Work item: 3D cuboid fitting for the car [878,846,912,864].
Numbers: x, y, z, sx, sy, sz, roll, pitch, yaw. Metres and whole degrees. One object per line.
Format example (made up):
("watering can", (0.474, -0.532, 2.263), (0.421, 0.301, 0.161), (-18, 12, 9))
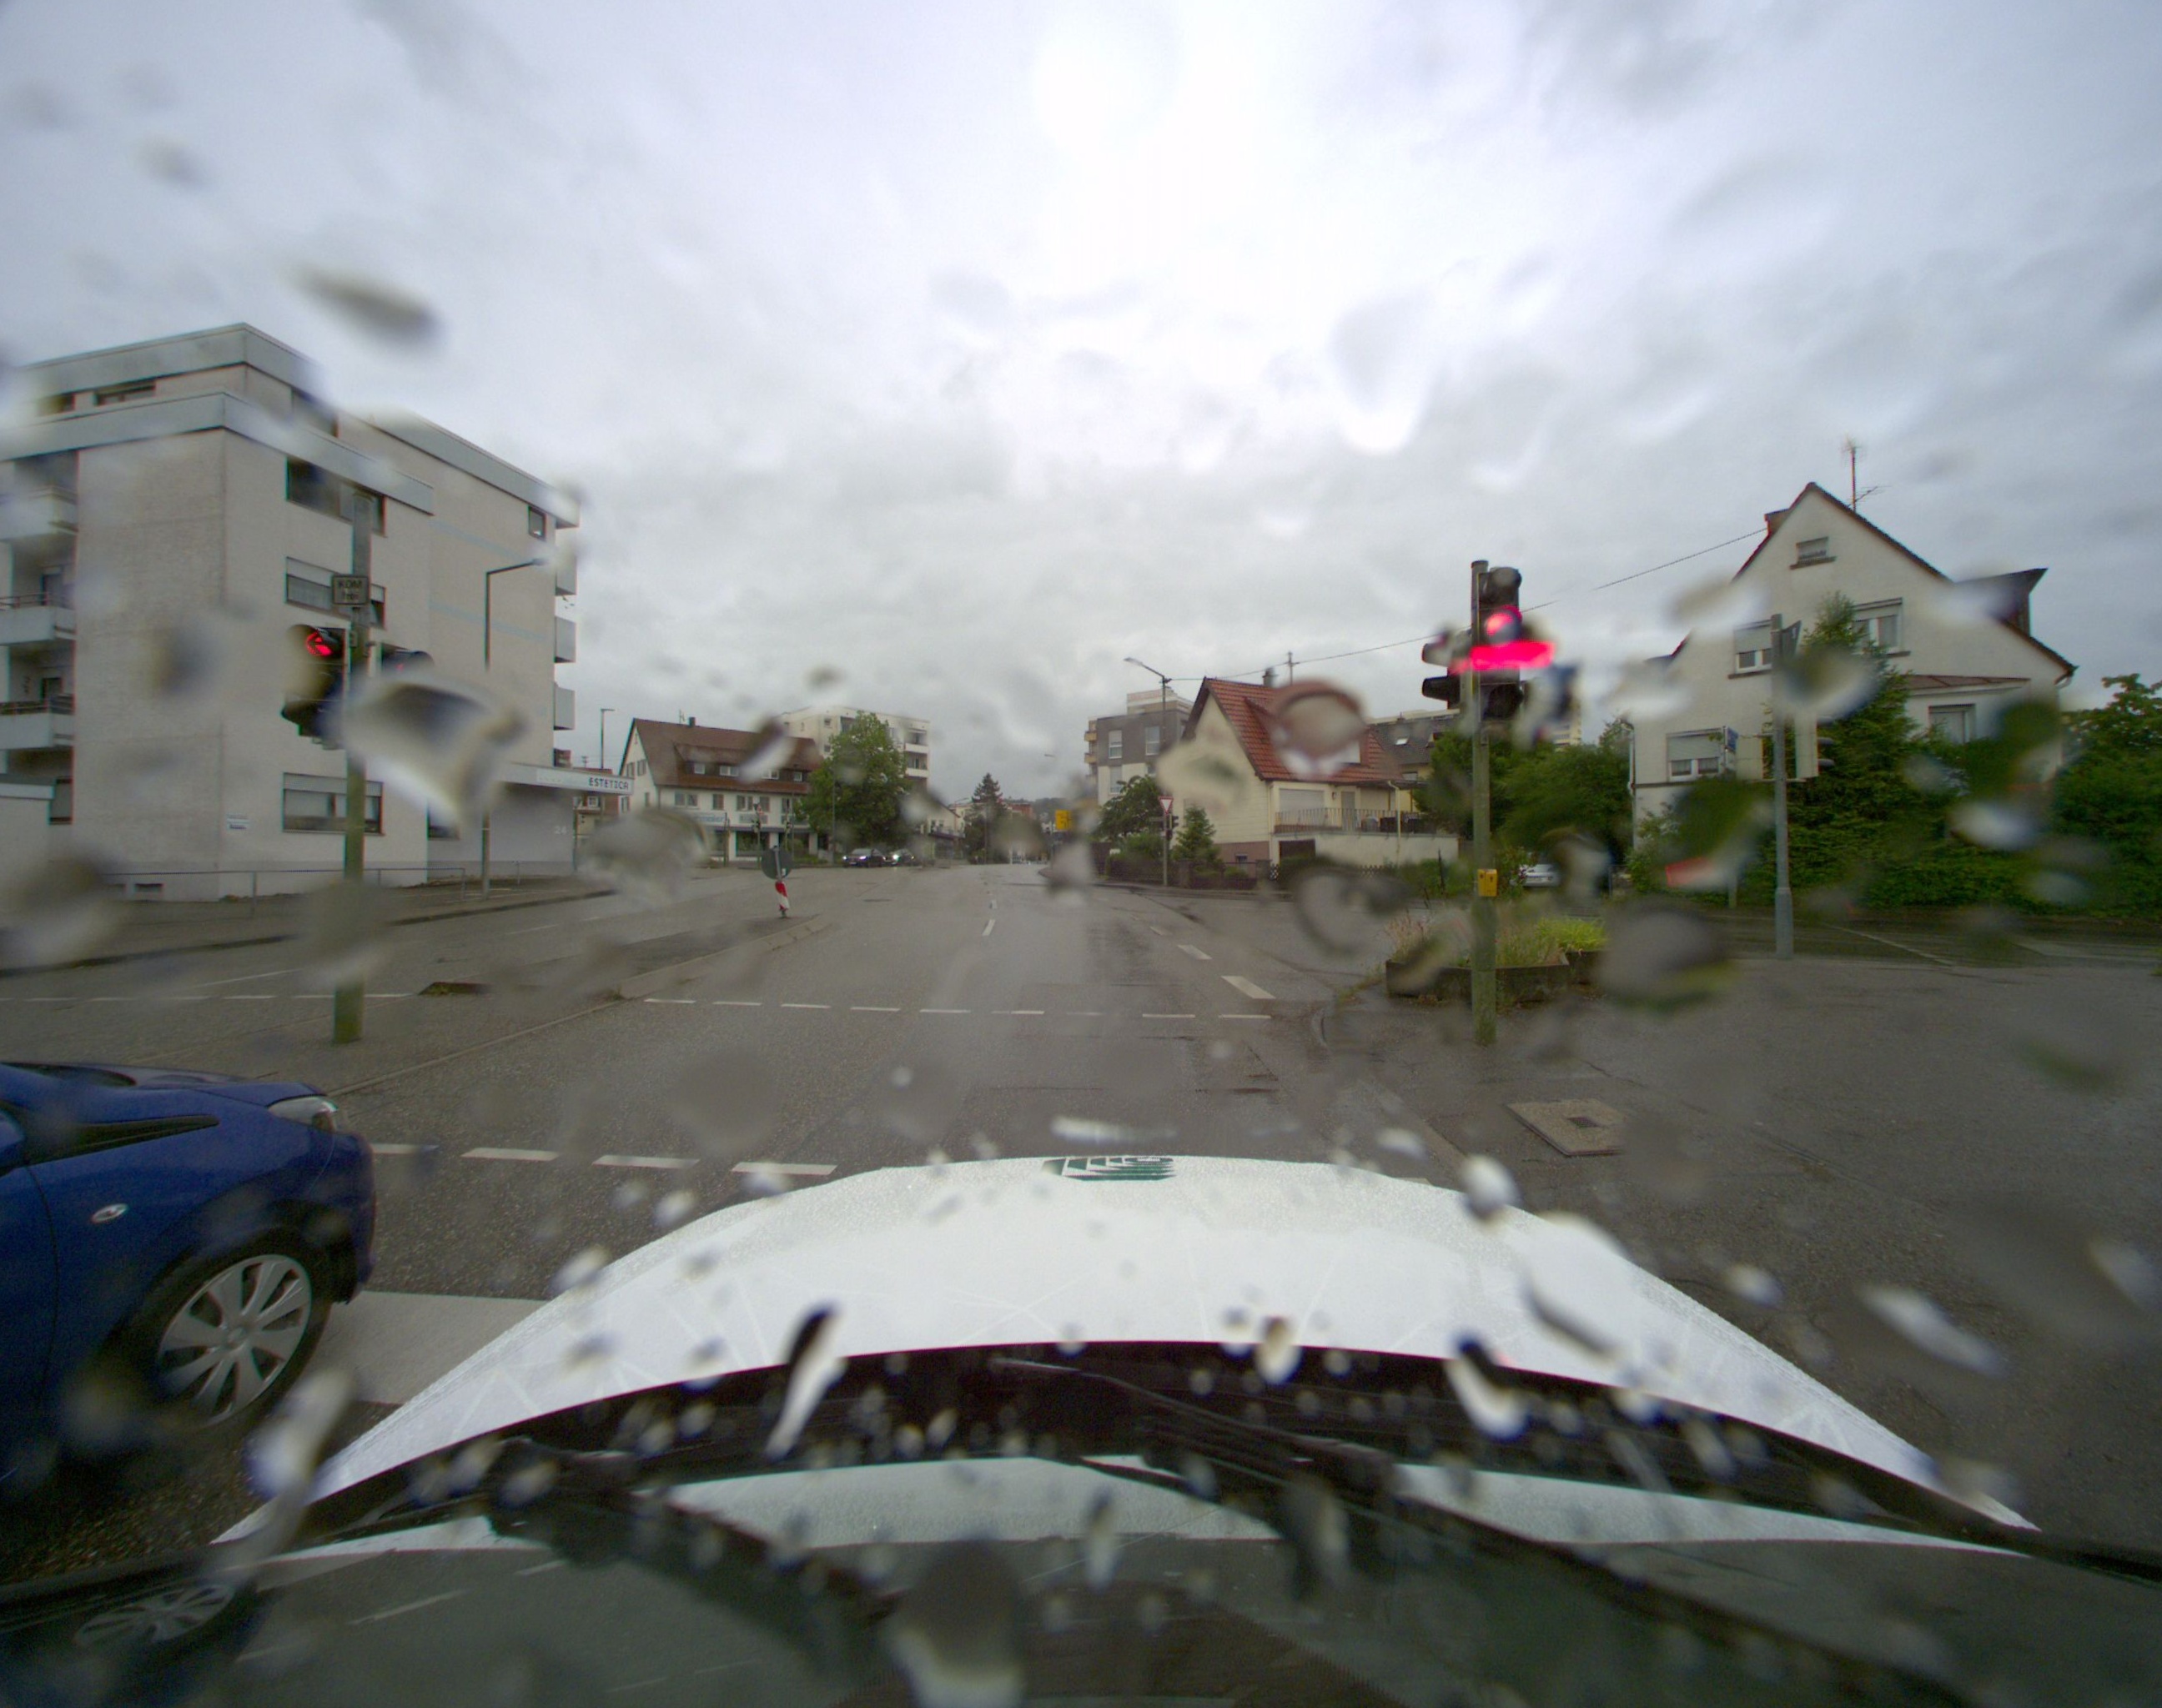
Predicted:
("car", (-15.128, 0.081, 66.499), (1.709, 1.387, 4.022), (0, 0, 2))

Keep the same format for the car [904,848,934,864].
("car", (-14.454, 0.151, 72.944), (1.772, 1.420, 3.832), (0, 0, 2))

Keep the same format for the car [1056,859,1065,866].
("car", (-4.714, 1.882, 186.509), (1.805, 1.486, 4.192), (-1, 0, 3))

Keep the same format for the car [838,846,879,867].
("car", (-16.087, 0.163, 59.100), (1.772, 1.420, 3.832), (0, 0, 2))

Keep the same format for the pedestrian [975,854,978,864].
("pedestrian", (-17.582, 0.836, 137.083), (0.494, 1.658, 0.435), (0, 0, 7))

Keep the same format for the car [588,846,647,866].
("car", (-38.390, 0.141, 67.497), (3.988, 1.572, 1.850), (0, 1, -42))

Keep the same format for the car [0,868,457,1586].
("car", (-2.979, 0.769, 1.155), (1.572, 1.410, 3.272), (0, 0, 2))

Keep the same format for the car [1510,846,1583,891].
("car", (17.068, 0.478, 29.800), (1.723, 1.514, 4.025), (0, 0, 39))
